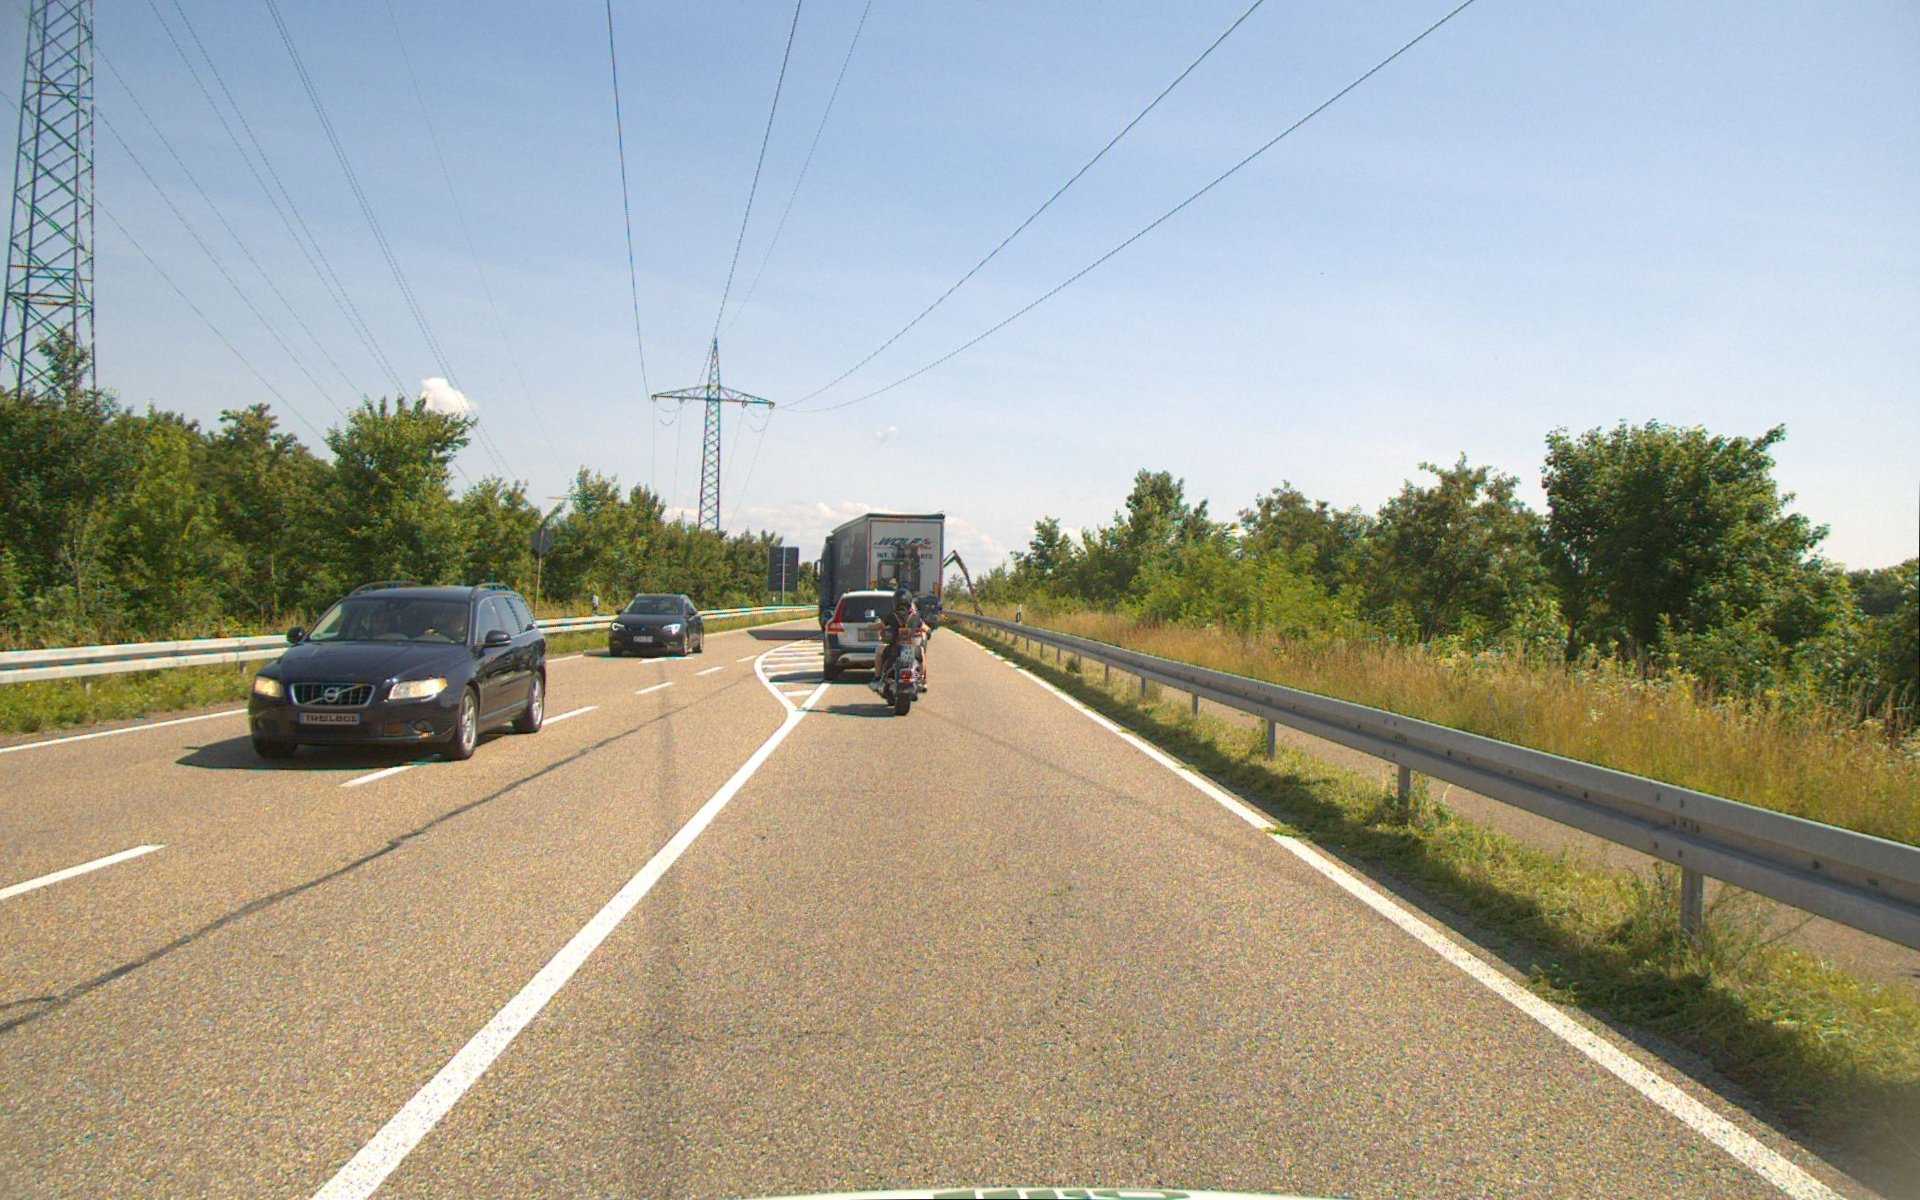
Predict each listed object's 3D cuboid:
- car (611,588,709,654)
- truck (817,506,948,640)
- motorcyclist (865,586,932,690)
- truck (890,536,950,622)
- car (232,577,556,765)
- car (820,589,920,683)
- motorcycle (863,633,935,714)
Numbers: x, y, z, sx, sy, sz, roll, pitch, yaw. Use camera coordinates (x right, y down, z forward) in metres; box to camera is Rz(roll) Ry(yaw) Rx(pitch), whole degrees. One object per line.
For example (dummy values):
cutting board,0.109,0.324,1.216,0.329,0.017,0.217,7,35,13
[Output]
car,-7.088,0.457,39.395,1.626,1.467,4.213,1,0,-1
truck,-3.102,-0.913,60.577,2.914,4.260,14.787,1,0,-10
motorcyclist,-0.803,0.485,21.444,0.820,1.303,0.918,1,0,-4
truck,-1.909,-0.944,77.312,2.562,3.776,6.773,1,0,-3
car,-5.162,0.569,15.717,1.693,1.517,4.421,1,0,-2
car,-1.573,0.597,29.609,1.667,1.563,3.498,1,0,-2
motorcycle,-0.813,0.922,21.388,0.842,0.931,2.226,1,0,-4
